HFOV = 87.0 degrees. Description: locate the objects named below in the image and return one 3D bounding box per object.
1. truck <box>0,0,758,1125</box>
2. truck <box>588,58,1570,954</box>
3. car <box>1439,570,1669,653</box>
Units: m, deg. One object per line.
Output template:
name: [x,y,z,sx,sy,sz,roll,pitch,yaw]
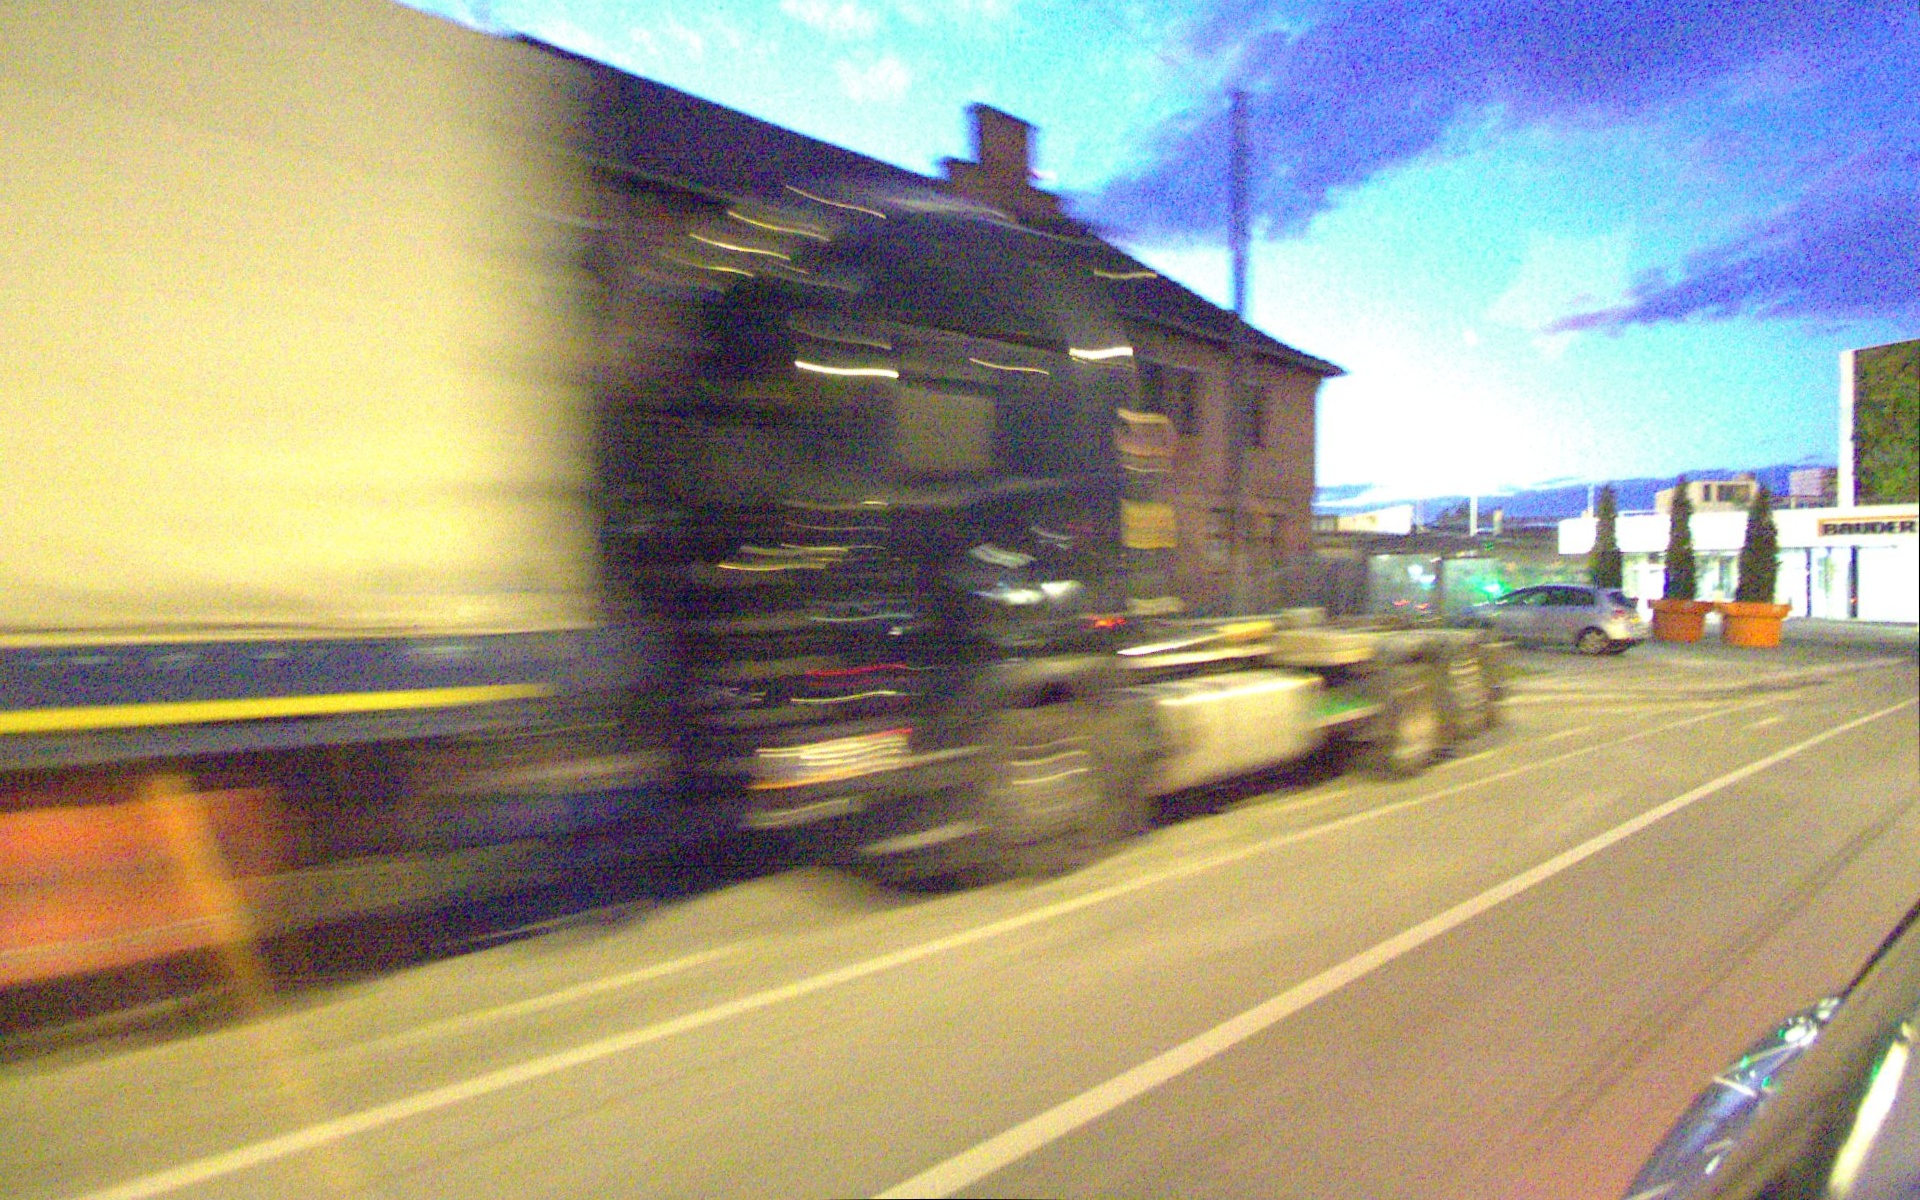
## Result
truck: [-5.521,-0.459,2.060,10.049,3.830,2.759,-1,1,-42]
truck: [1.906,-0.461,8.339,8.978,3.830,2.760,-1,1,-41]
car: [14.024,0.209,24.087,1.859,1.666,4.334,0,3,-41]
